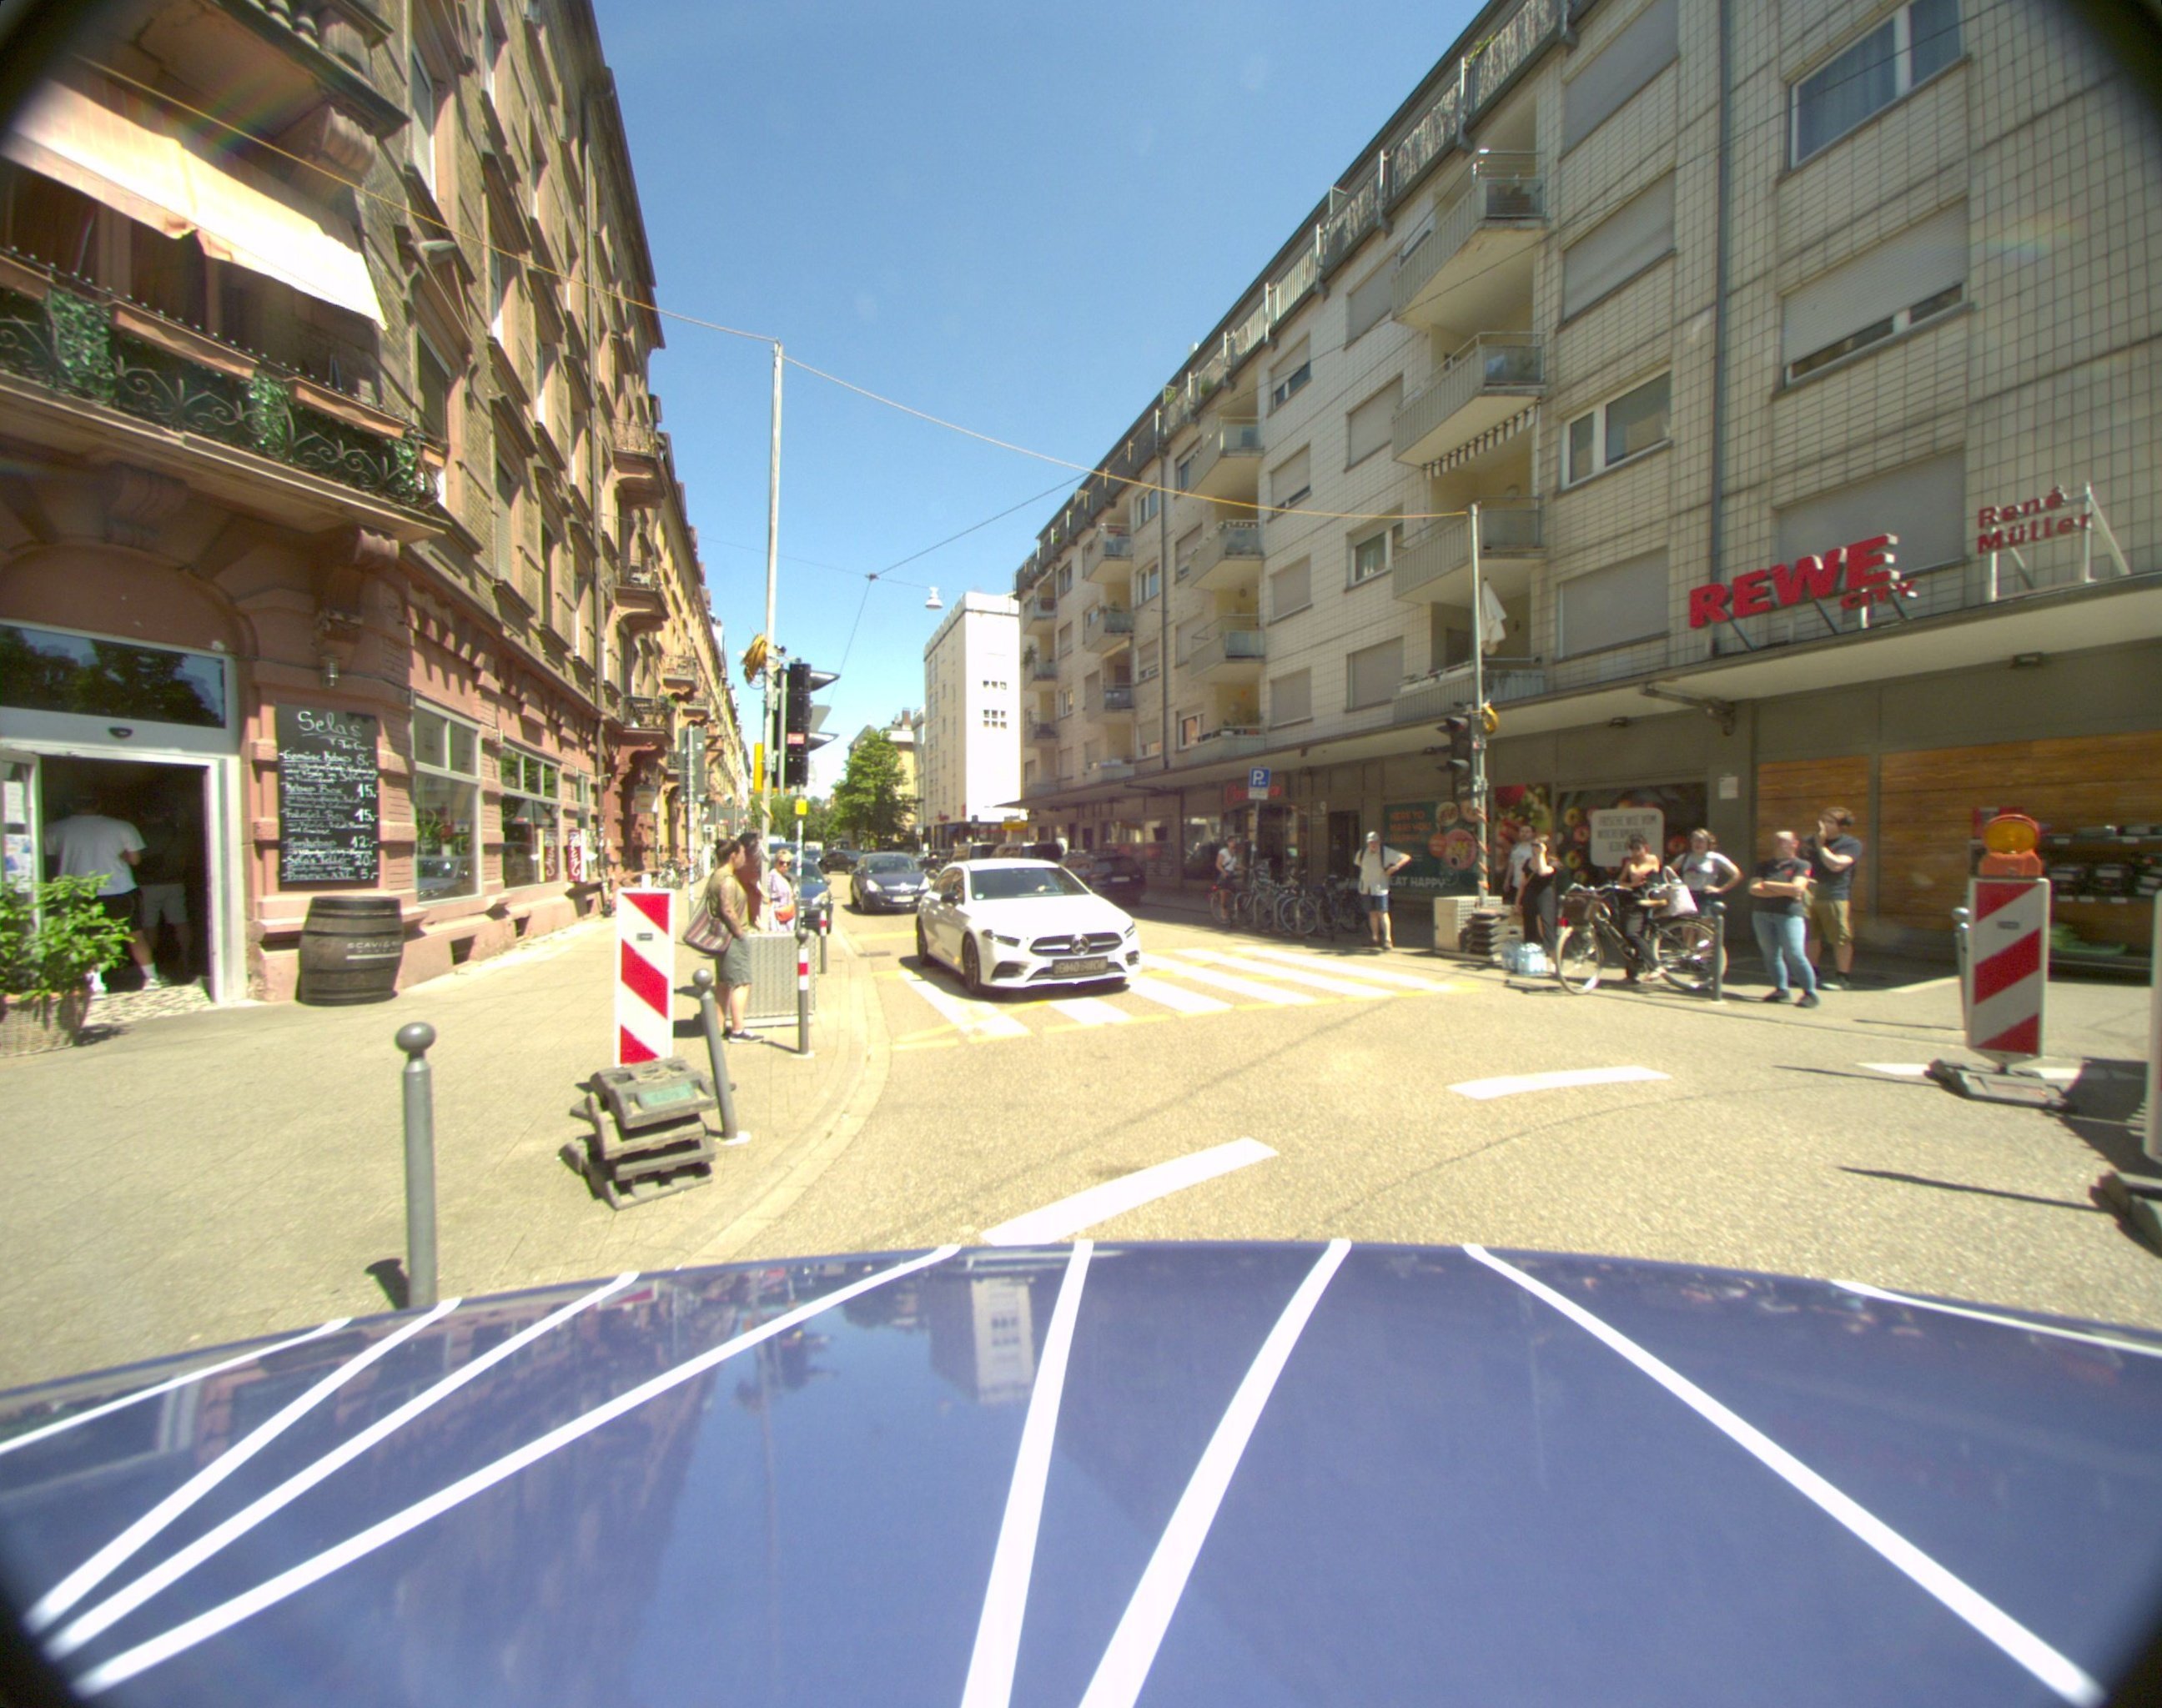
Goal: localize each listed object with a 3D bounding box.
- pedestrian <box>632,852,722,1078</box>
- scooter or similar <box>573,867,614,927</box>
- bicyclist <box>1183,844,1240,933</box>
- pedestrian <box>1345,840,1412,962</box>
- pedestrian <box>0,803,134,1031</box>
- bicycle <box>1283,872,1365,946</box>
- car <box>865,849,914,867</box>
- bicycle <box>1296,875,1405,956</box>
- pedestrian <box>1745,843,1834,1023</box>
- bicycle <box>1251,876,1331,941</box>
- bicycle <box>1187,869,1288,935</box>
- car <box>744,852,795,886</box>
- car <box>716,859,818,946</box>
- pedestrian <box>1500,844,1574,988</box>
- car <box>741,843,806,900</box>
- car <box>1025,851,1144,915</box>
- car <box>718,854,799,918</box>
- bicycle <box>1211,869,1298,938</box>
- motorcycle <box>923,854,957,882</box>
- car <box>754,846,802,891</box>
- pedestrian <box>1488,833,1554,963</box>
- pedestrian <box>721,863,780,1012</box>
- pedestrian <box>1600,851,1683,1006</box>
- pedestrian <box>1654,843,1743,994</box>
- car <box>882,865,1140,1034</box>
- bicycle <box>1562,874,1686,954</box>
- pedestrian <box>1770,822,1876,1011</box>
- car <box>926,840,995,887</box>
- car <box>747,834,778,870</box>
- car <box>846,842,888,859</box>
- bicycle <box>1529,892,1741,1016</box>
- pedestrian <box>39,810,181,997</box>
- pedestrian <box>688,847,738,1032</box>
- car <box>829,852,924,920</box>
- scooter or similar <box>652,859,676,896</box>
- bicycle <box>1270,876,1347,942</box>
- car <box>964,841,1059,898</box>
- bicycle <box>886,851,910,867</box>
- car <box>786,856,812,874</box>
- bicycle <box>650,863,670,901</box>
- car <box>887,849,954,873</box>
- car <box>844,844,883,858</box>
[{"bbox_3d":[-2.916,0.763,5.519,0.461,1.551,0.478,-1,1,-17],"label":"pedestrian"},{"bbox_3d":[-10.264,0.875,16.023,0.293,1.170,1.270,-1,1,-13],"label":"scooter or similar"},{"bbox_3d":[2.628,0.674,15.332,0.626,1.696,0.977,-3,2,-23],"label":"bicyclist"},{"bbox_3d":[4.338,0.658,11.104,0.659,1.717,0.631,-1,2,-25],"label":"pedestrian"},{"bbox_3d":[-8.728,0.493,6.330,0.455,1.809,0.943,3,2,20],"label":"pedestrian"},{"bbox_3d":[4.186,0.925,13.039,1.526,1.111,0.335,-4,3,-27],"label":"bicycle"},{"bbox_3d":[-16.742,0.350,66.490,3.893,1.520,1.648,-1,1,-23],"label":"car"},{"bbox_3d":[4.363,0.954,12.252,1.806,1.116,0.576,-3,3,-28],"label":"bicycle"},{"bbox_3d":[6.570,0.700,7.059,0.391,1.609,0.474,-1,2,-25],"label":"pedestrian"},{"bbox_3d":[3.820,0.964,13.803,1.500,1.025,0.397,-4,3,-27],"label":"bicycle"},{"bbox_3d":[3.106,0.917,15.012,1.942,1.085,0.603,-4,1,-28],"label":"bicycle"},{"bbox_3d":[-14.803,0.650,36.030,1.769,1.441,3.896,-2,2,-29],"label":"car"},{"bbox_3d":[-6.149,0.846,14.939,1.634,1.424,3.652,0,1,-22],"label":"car"},{"bbox_3d":[5.320,0.692,8.874,0.543,1.623,0.510,-1,2,-25],"label":"pedestrian"},{"bbox_3d":[-10.452,0.513,25.623,1.833,1.756,4.328,0,1,-25],"label":"car"},{"bbox_3d":[-0.033,0.699,21.199,1.677,1.516,4.455,-2,1,-22],"label":"car"},{"bbox_3d":[-8.475,0.746,19.853,1.733,1.424,4.476,0,1,-25],"label":"car"},{"bbox_3d":[3.287,0.910,14.348,1.590,1.133,0.525,-4,3,-27],"label":"bicycle"},{"bbox_3d":[-6.807,0.677,36.724,1.554,1.277,0.393,-1,3,9],"label":"motorcycle"},{"bbox_3d":[-12.810,0.533,32.011,1.709,1.724,3.991,-2,2,-23],"label":"car"},{"bbox_3d":[6.146,0.590,10.621,0.511,1.760,0.598,-1,2,-25],"label":"pedestrian"},{"bbox_3d":[-3.533,0.877,8.144,0.495,1.534,0.436,1,1,-17],"label":"pedestrian"},{"bbox_3d":[5.843,0.762,7.938,0.497,1.557,0.459,-2,1,3],"label":"pedestrian"},{"bbox_3d":[6.923,0.685,8.534,0.511,1.623,0.598,-1,2,-25],"label":"pedestrian"},{"bbox_3d":[-1.109,0.906,9.234,1.817,1.417,4.232,-1,1,-24],"label":"car"},{"bbox_3d":[7.928,0.851,11.138,0.322,1.080,1.428,-2,1,-42],"label":"bicycle"},{"bbox_3d":[7.423,0.590,7.614,0.511,1.809,0.598,-1,2,-25],"label":"pedestrian"},{"bbox_3d":[-5.321,0.364,33.091,1.796,1.818,4.890,-2,1,-23],"label":"car"},{"bbox_3d":[-25.561,-0.226,61.035,2.071,2.687,5.028,-3,2,-23],"label":"car"},{"bbox_3d":[-21.915,-0.368,77.861,3.893,1.737,1.648,-1,1,-23],"label":"car"},{"bbox_3d":[5.558,0.987,7.660,1.809,1.113,0.467,-2,2,-2],"label":"bicycle"},{"bbox_3d":[-9.400,0.450,7.374,0.495,1.709,0.725,2,2,22],"label":"pedestrian"},{"bbox_3d":[-3.401,0.765,7.046,0.333,1.666,0.401,-1,1,-17],"label":"pedestrian"},{"bbox_3d":[-5.387,0.726,19.672,1.783,1.460,3.991,-3,2,-23],"label":"car"},{"bbox_3d":[-14.264,0.780,26.032,0.478,1.146,2.145,-1,1,-23],"label":"scooter or similar"},{"bbox_3d":[4.025,0.951,13.404,1.454,1.030,0.335,-4,3,-27],"label":"bicycle"},{"bbox_3d":[-2.587,0.485,27.207,1.797,1.801,4.688,-2,1,-26],"label":"car"},{"bbox_3d":[-13.491,0.364,55.978,1.611,1.084,0.370,-3,2,-17],"label":"bicycle"},{"bbox_3d":[-23.192,0.874,62.430,1.751,1.382,3.991,-1,1,-24],"label":"car"},{"bbox_3d":[-13.084,0.842,23.645,0.355,1.097,1.752,-1,1,-23],"label":"bicycle"},{"bbox_3d":[-9.983,0.430,47.280,3.894,1.417,1.812,-1,1,-18],"label":"car"},{"bbox_3d":[-23.840,-0.322,83.298,3.893,1.487,1.648,-1,1,-23],"label":"car"}]
